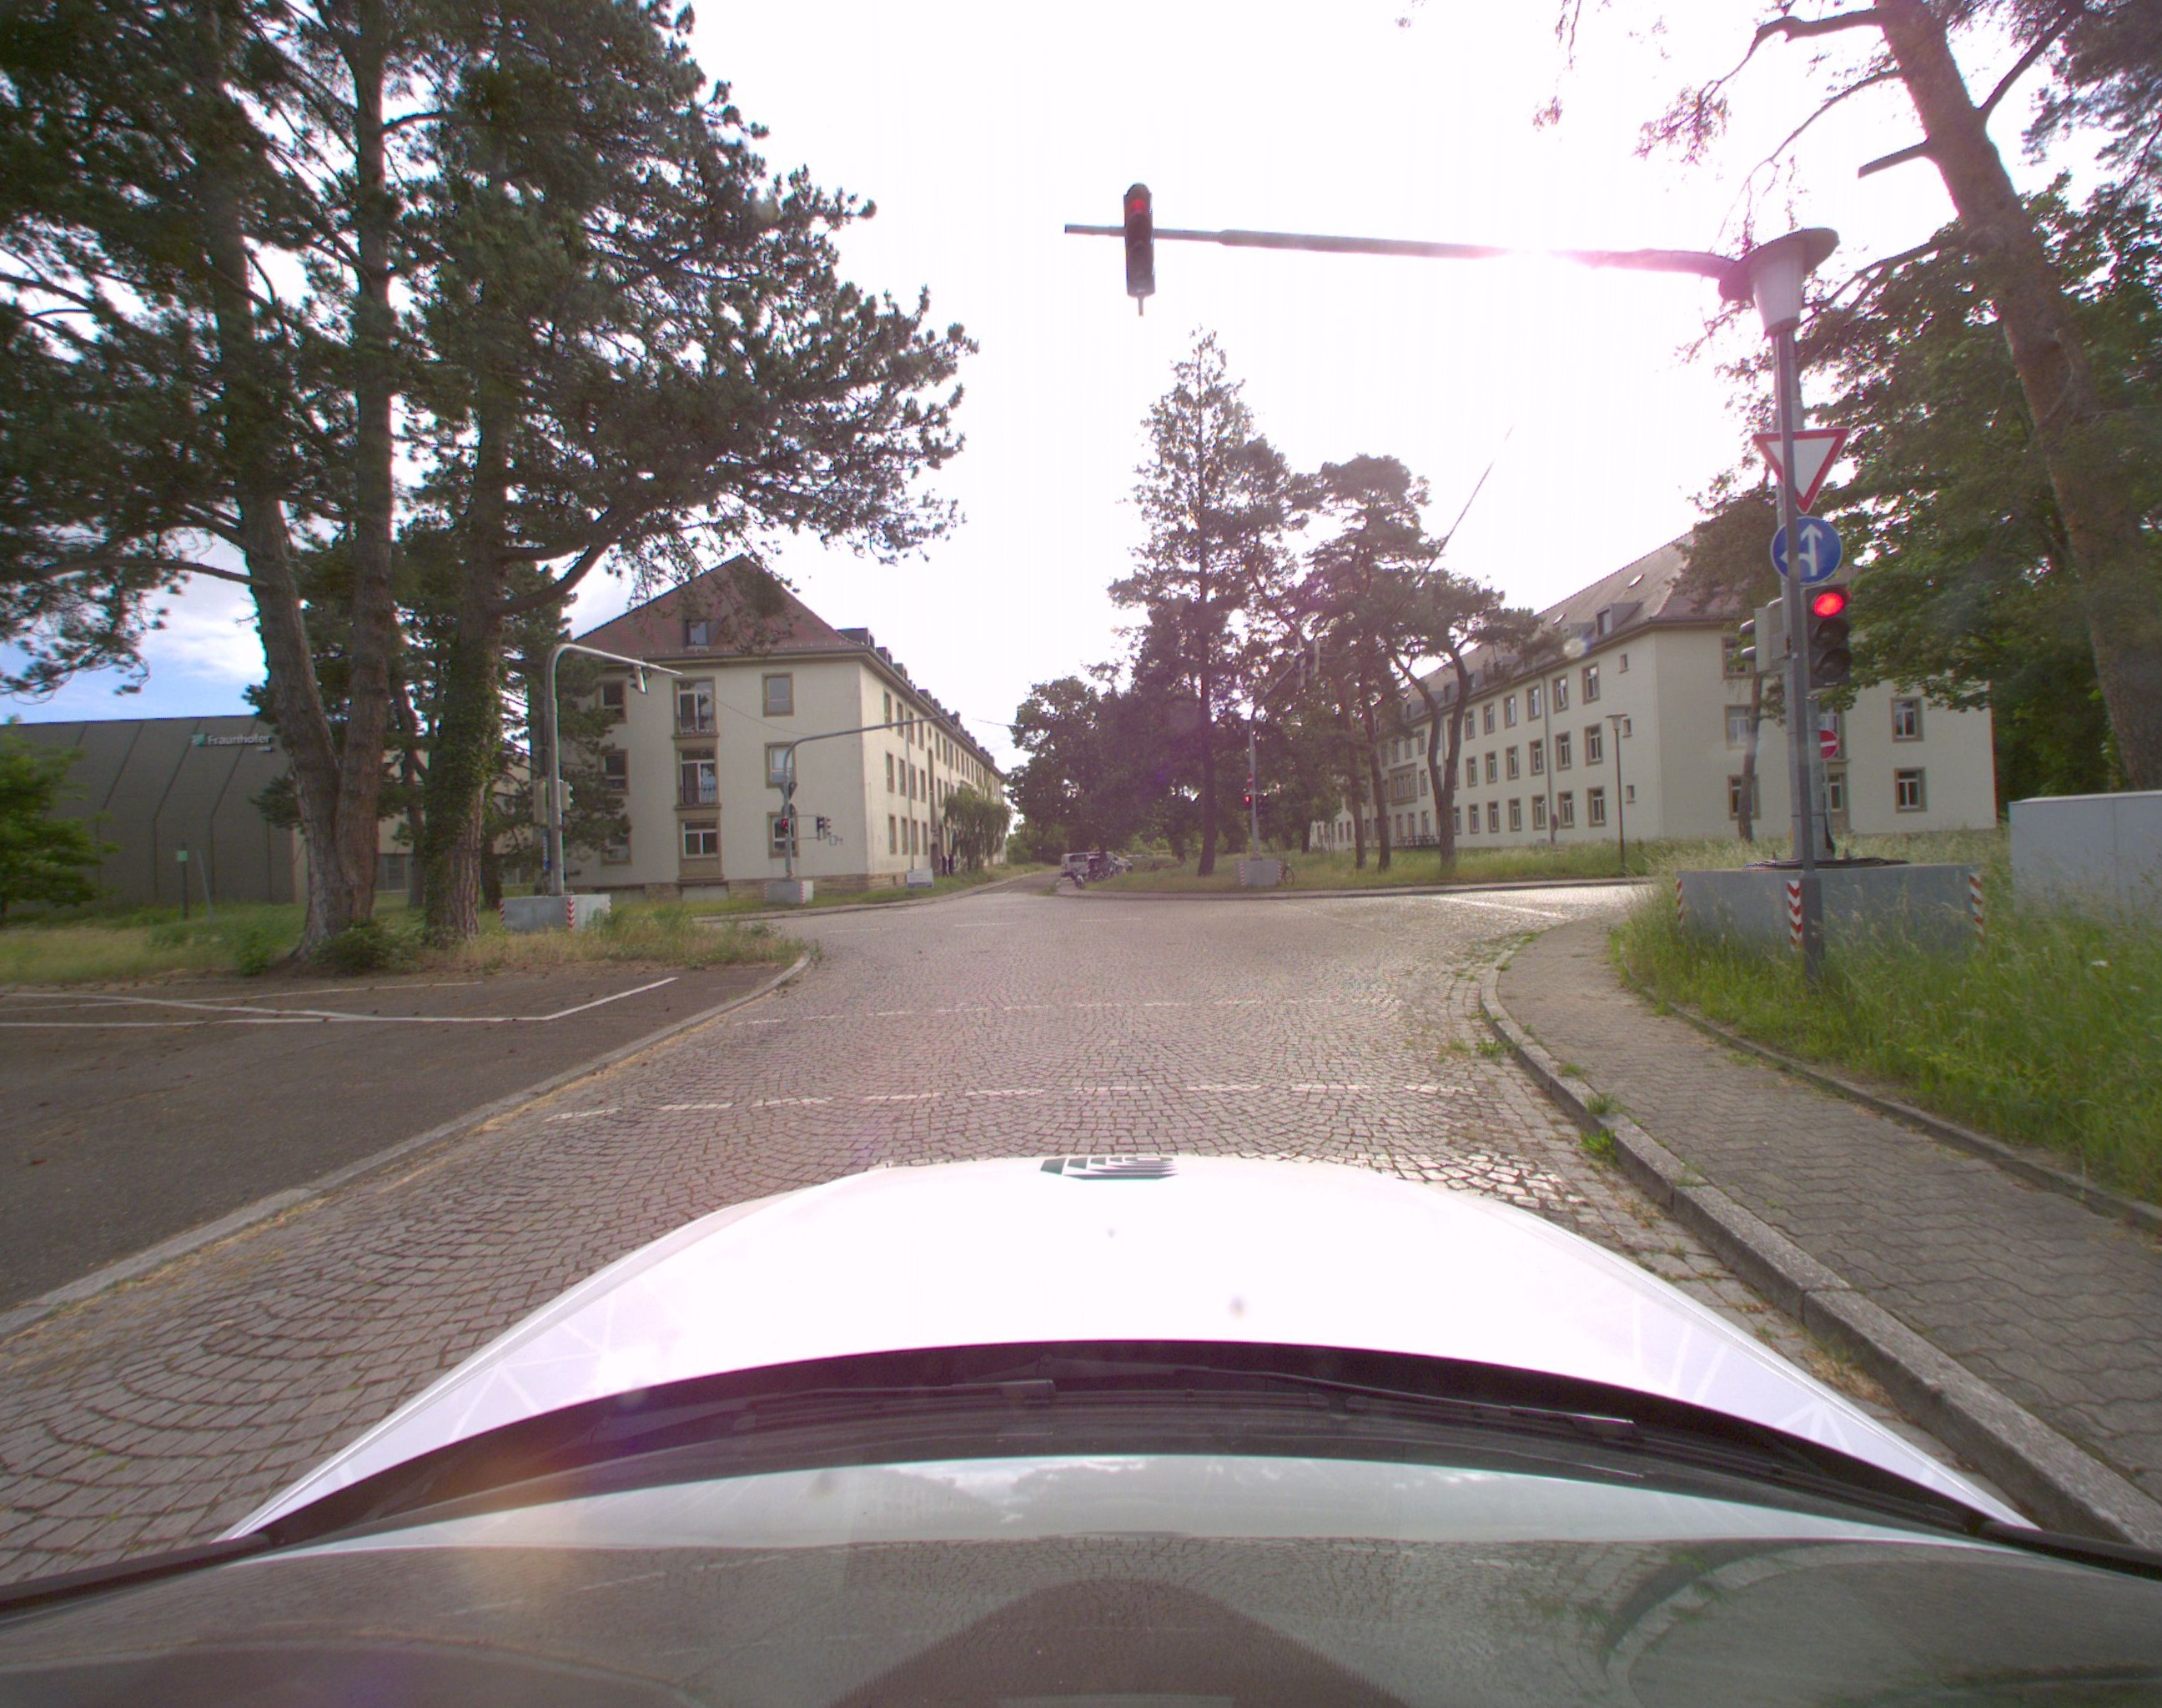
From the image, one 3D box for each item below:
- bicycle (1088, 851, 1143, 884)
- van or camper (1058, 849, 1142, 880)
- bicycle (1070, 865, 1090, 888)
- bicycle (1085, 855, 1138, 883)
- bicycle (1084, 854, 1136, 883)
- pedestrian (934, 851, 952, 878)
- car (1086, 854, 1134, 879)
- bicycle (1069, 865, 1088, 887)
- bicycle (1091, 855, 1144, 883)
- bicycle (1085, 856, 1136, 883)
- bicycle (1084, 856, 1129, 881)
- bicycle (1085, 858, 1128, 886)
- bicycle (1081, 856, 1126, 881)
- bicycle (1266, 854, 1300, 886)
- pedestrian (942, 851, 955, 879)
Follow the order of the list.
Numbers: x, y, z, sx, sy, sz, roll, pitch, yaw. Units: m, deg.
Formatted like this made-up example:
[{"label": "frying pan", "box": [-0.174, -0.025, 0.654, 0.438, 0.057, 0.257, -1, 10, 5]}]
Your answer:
[{"label": "bicycle", "box": [1.827, 0.712, 43.215, 2.794, 1.583, 0.950, -2, -1, -1]}, {"label": "van or camper", "box": [1.372, 0.766, 59.851, 5.746, 1.957, 2.228, -2, 0, -12]}, {"label": "bicycle", "box": [-0.041, 1.054, 38.347, 0.898, 0.996, 1.978, -2, 0, 0]}, {"label": "bicycle", "box": [1.646, 0.828, 44.678, 2.794, 1.372, 0.950, -2, -1, -1]}, {"label": "bicycle", "box": [1.475, 0.738, 42.344, 2.611, 1.367, 0.874, -2, -1, -1]}, {"label": "pedestrian", "box": [-9.629, 0.735, 56.919, 1.194, 1.870, 1.545, -1, -1, -10]}, {"label": "car", "box": [1.981, 0.889, 56.339, 3.215, 1.621, 1.937, -1, -1, -1]}, {"label": "bicycle", "box": [-0.098, 1.081, 40.439, 0.724, 0.996, 1.981, -2, 0, 5]}, {"label": "bicycle", "box": [1.968, 0.814, 44.145, 2.794, 1.372, 0.950, -2, -1, -1]}, {"label": "bicycle", "box": [1.624, 0.839, 45.571, 2.794, 1.372, 0.950, -2, -1, -1]}, {"label": "bicycle", "box": [1.479, 0.835, 47.374, 2.560, 1.372, 0.950, -2, -1, -1]}, {"label": "bicycle", "box": [1.288, 0.911, 41.730, 2.106, 1.306, 0.874, -2, -1, -1]}, {"label": "bicycle", "box": [1.323, 0.848, 48.211, 2.560, 1.372, 0.950, -2, -1, -1]}, {"label": "bicycle", "box": [7.337, 0.567, 29.652, 0.643, 1.062, 1.832, -6, 0, -2]}, {"label": "pedestrian", "box": [-9.354, 0.782, 57.574, 0.865, 1.932, 0.834, 0, -1, -11]}]
